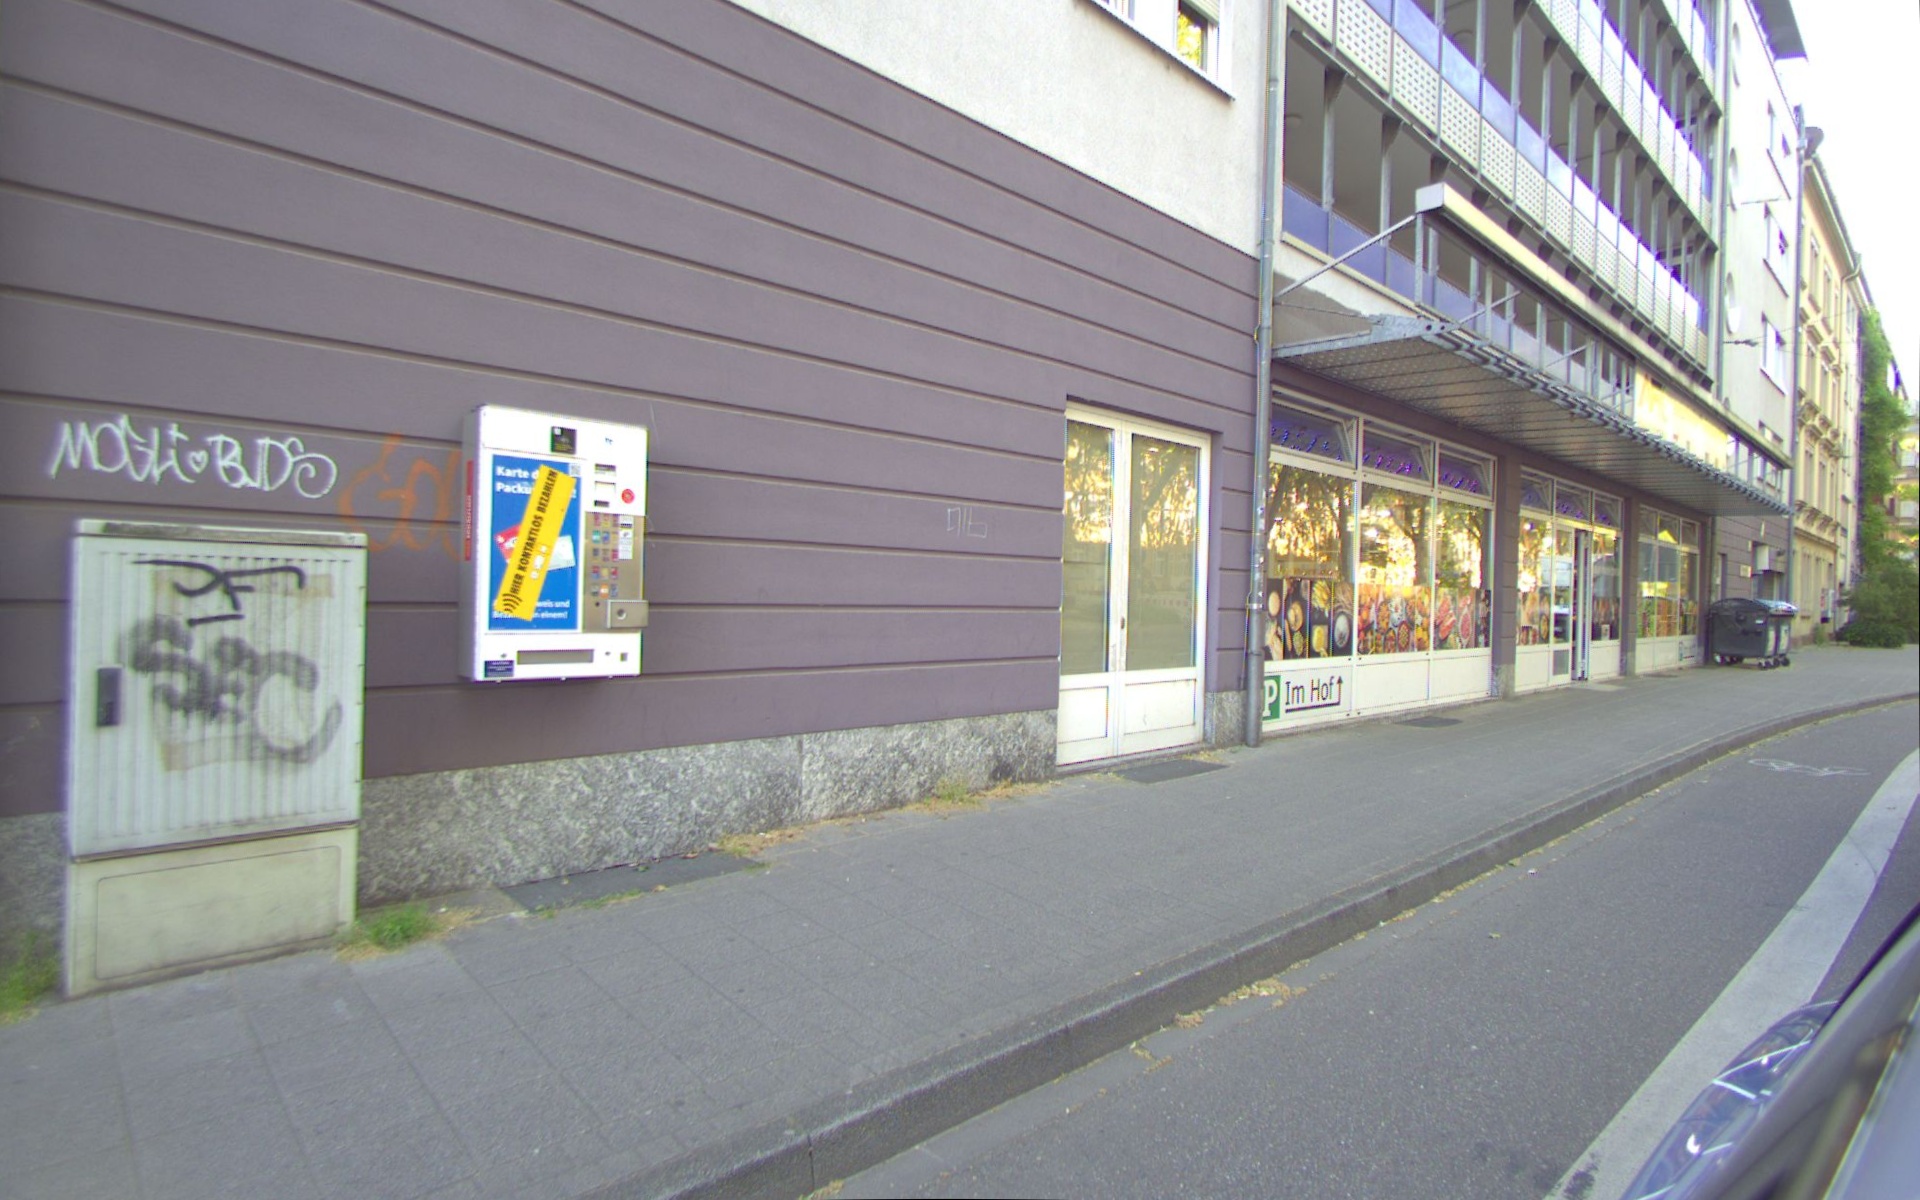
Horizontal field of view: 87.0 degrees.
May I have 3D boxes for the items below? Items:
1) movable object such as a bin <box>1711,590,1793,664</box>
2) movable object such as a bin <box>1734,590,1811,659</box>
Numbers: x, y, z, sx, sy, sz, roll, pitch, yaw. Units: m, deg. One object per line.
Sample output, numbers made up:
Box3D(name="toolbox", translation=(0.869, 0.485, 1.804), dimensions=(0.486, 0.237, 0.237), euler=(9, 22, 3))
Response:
Box3D(name="movable object such as a bin", translation=(16.282, 0.541, 20.820), dimensions=(0.923, 1.444, 1.158), euler=(1, 1, -40))
Box3D(name="movable object such as a bin", translation=(17.778, 0.517, 22.151), dimensions=(0.923, 1.444, 1.158), euler=(1, 1, -40))
